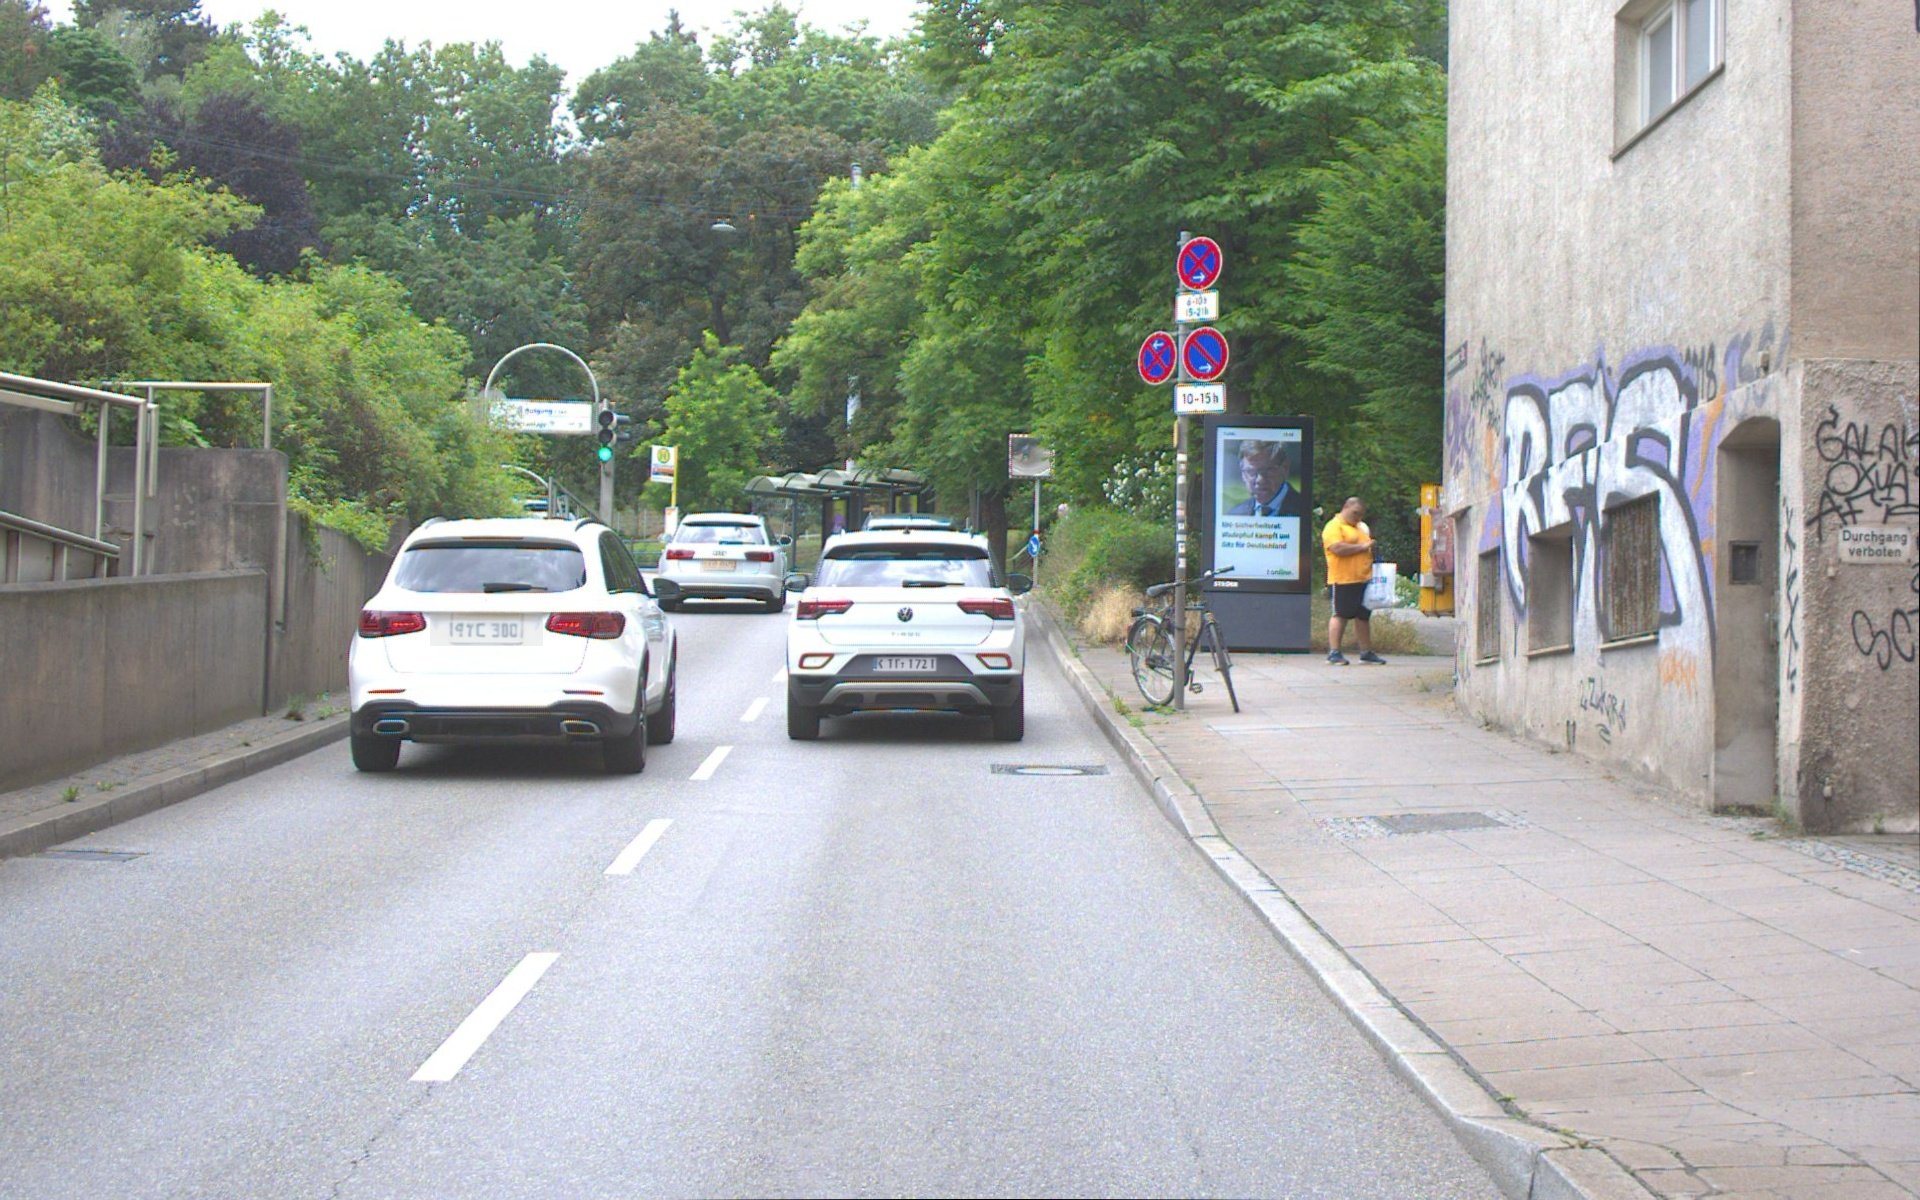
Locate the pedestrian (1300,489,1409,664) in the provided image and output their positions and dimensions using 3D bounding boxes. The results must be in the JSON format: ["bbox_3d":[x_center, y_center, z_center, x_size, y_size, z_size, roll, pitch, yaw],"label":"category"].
[{"bbox_3d":[3.911,-0.241,34.089,0.832,1.706,0.822,0,1,-14],"label":"pedestrian"}]

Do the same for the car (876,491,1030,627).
[{"bbox_3d":[-0.095,-0.542,44.303,1.861,1.626,3.959,1,1,0],"label":"car"}]

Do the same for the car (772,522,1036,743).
[{"bbox_3d":[-0.383,0.200,26.710,1.865,1.551,3.895,1,1,1],"label":"car"}]

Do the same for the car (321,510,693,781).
[{"bbox_3d":[-2.952,0.242,23.286,1.877,1.646,4.341,1,1,1],"label":"car"}]

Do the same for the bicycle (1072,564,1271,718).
[{"bbox_3d":[1.629,0.296,26.868,0.638,1.139,2.066,0,1,-25],"label":"bicycle"}]

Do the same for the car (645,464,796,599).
[{"bbox_3d":[-3.582,-1.040,52.066,1.993,1.875,4.000,2,1,-1],"label":"car"}]
